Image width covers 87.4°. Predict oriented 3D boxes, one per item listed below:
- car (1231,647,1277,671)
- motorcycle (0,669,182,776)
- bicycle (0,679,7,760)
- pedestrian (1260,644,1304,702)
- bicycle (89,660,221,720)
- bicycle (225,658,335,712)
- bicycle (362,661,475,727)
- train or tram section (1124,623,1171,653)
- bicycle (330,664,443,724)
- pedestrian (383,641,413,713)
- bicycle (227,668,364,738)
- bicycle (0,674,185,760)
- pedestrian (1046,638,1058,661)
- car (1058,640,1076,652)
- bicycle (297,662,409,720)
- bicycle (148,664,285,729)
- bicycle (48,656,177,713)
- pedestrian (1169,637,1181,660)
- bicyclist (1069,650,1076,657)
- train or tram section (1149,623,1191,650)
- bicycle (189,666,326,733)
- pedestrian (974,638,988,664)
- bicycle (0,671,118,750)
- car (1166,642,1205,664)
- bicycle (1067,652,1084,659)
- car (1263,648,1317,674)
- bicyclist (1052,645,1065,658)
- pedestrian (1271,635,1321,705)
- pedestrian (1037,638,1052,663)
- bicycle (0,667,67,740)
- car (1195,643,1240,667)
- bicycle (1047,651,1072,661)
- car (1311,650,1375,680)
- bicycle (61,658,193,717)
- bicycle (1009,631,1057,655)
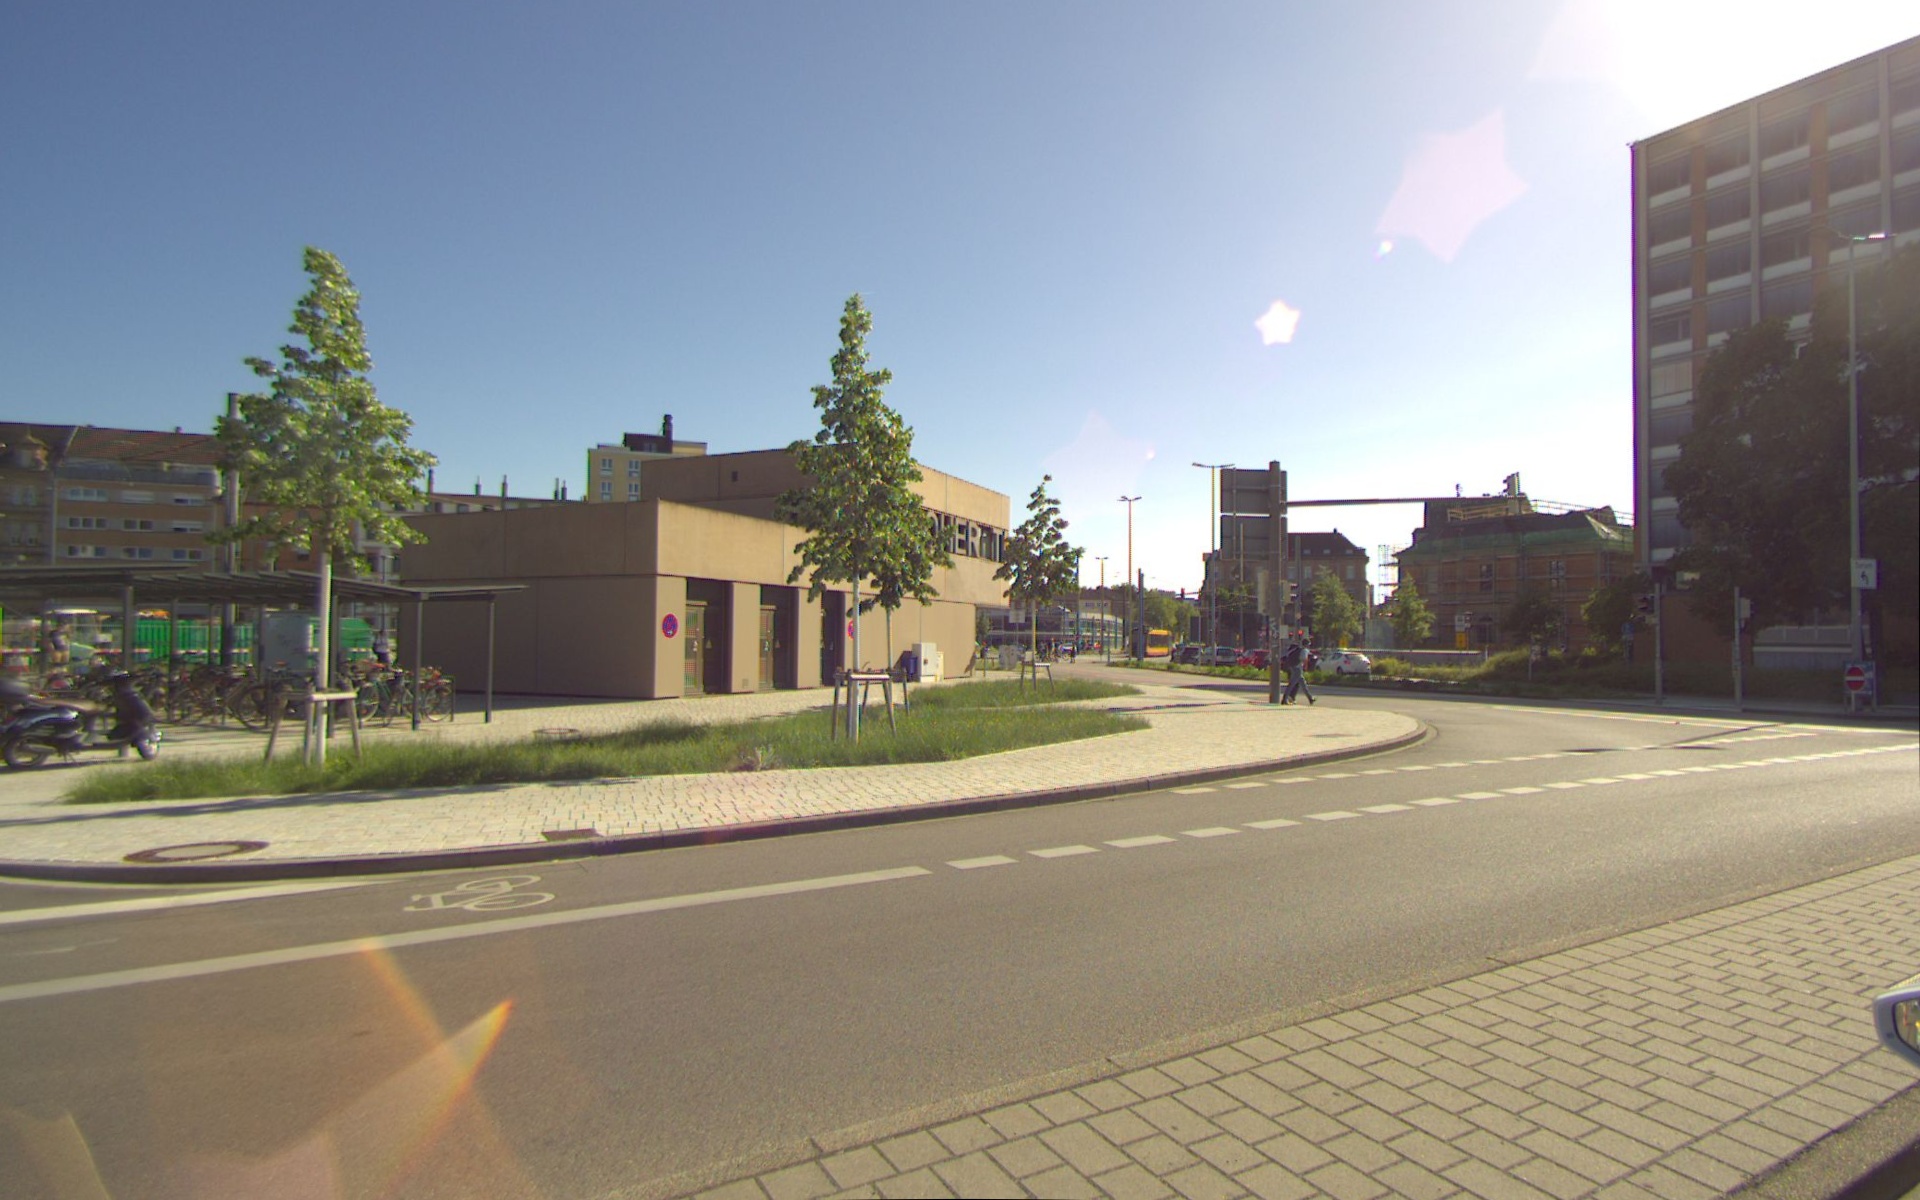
[{"bbox_3d":[20.219,4.033,69.251,1.760,1.528,3.880,1,-2,-6],"label":"car"},{"bbox_3d":[-10.915,1.478,12.474,0.508,1.166,1.947,0,-2,25],"label":"motorcycle"},{"bbox_3d":[-12.740,1.487,12.007,0.449,1.022,1.902,0,-2,26],"label":"bicycle"},{"bbox_3d":[8.760,1.970,27.346,0.964,1.547,0.652,1,-2,-16],"label":"pedestrian"},{"bbox_3d":[-15.075,1.658,18.868,0.449,1.022,1.902,0,-2,26],"label":"bicycle"},{"bbox_3d":[-14.067,1.731,20.833,0.449,1.022,1.902,0,-2,26],"label":"bicycle"},{"bbox_3d":[-9.922,1.699,18.493,0.449,1.112,1.902,0,-2,26],"label":"bicycle"},{"bbox_3d":[22.776,4.527,121.649,2.651,3.275,10.589,2,0,27],"label":"train or tram section"},{"bbox_3d":[-10.701,1.736,18.823,0.449,1.022,1.902,0,-2,26],"label":"bicycle"},{"bbox_3d":[-16.287,2.215,29.106,0.710,2.040,0.682,1,-2,-30],"label":"pedestrian"},{"bbox_3d":[-10.905,1.665,16.574,0.449,1.022,1.902,0,-2,26],"label":"bicycle"},{"bbox_3d":[-11.809,1.558,13.727,0.449,1.022,1.902,0,-2,26],"label":"bicycle"},{"bbox_3d":[7.621,4.099,83.293,0.862,1.889,0.730,1,-2,-9],"label":"pedestrian"},{"bbox_3d":[15.123,6.465,141.660,1.709,1.672,4.002,0,-2,17],"label":"car"},{"bbox_3d":[-11.791,1.746,19.580,0.449,1.022,1.902,0,-2,26],"label":"bicycle"},{"bbox_3d":[-12.893,1.651,17.493,0.449,1.022,1.902,0,-2,26],"label":"bicycle"},{"bbox_3d":[-16.694,1.641,19.842,0.449,1.022,1.902,0,-2,26],"label":"bicycle"},{"bbox_3d":[18.043,4.057,84.289,0.861,1.889,0.731,1,-2,-4],"label":"pedestrian"},{"bbox_3d":[9.522,4.537,84.736,0.560,0.556,0.431,0,-2,11],"label":"bicyclist"},{"bbox_3d":[27.478,4.716,131.106,2.651,3.275,10.589,2,0,27],"label":"train or tram section"},{"bbox_3d":[-11.883,1.654,17.063,0.449,1.022,1.902,0,-2,26],"label":"bicycle"},{"bbox_3d":[1.711,4.175,82.131,1.023,2.040,0.724,1,-2,-9],"label":"pedestrian"},{"bbox_3d":[-13.024,1.539,14.018,0.449,1.022,1.902,0,-2,26],"label":"bicycle"},{"bbox_3d":[16.791,3.931,74.999,1.760,1.528,3.880,1,-2,-6],"label":"car"},{"bbox_3d":[9.733,4.686,84.687,1.381,0.556,0.435,0,-2,11],"label":"bicycle"},{"bbox_3d":[20.589,3.769,62.790,1.760,1.528,3.880,1,-2,-6],"label":"car"},{"bbox_3d":[9.446,4.900,96.118,0.953,1.182,0.892,1,-2,-19],"label":"bicyclist"},{"bbox_3d":[8.559,1.774,25.603,1.044,1.753,0.652,1,-2,-16],"label":"pedestrian"},{"bbox_3d":[6.857,4.084,81.725,1.023,2.040,0.724,1,-2,-9],"label":"pedestrian"},{"bbox_3d":[-14.153,1.511,14.450,0.449,1.022,1.902,0,-2,26],"label":"bicycle"},{"bbox_3d":[17.472,3.695,68.272,1.760,1.528,3.880,1,-2,-6],"label":"car"},{"bbox_3d":[9.484,5.351,96.117,2.207,0.894,0.892,1,-2,-19],"label":"bicycle"},{"bbox_3d":[21.261,3.595,55.934,1.760,1.528,3.880,1,-2,-6],"label":"car"},{"bbox_3d":[-15.912,1.646,19.244,0.449,1.022,1.902,0,-2,26],"label":"bicycle"},{"bbox_3d":[6.556,3.849,90.108,3.922,2.040,2.000,0,-2,22],"label":"bicycle"}]
